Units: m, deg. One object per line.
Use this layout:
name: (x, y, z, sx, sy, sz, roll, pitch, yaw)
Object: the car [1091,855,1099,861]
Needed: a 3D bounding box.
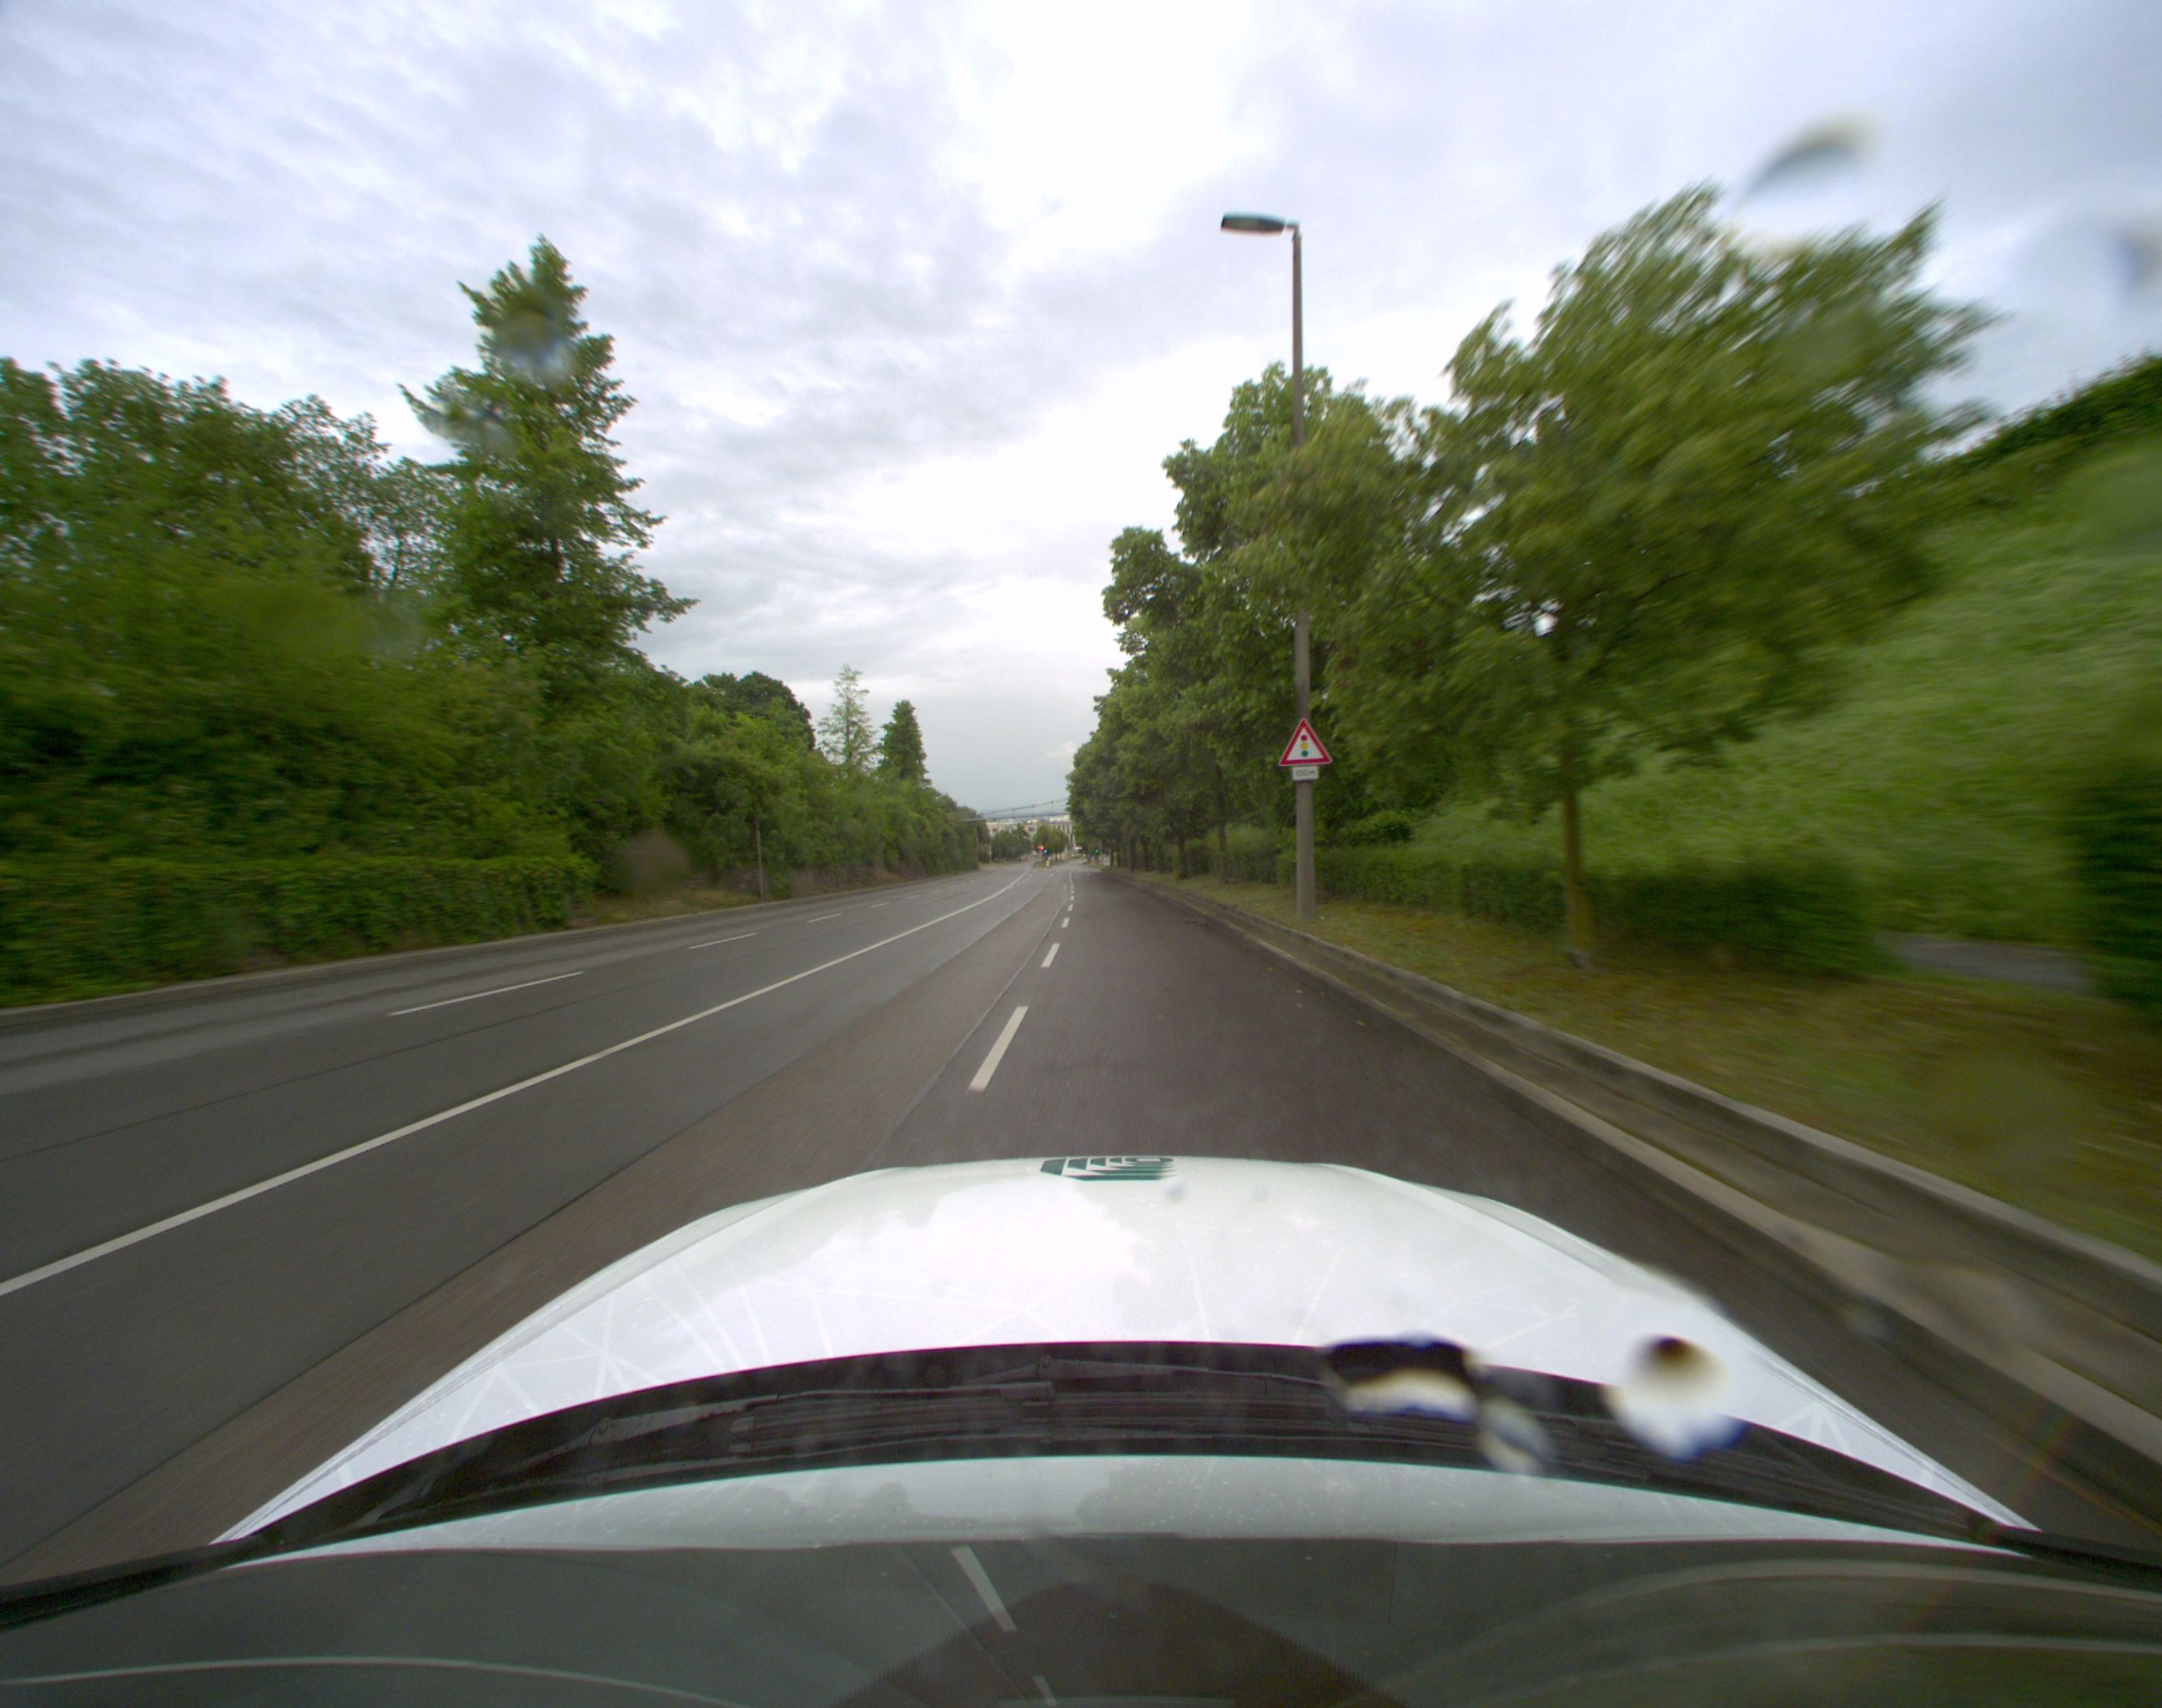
car: (3.974, 1.234, 232.372, 1.840, 1.702, 3.798, 0, -2, 6)
